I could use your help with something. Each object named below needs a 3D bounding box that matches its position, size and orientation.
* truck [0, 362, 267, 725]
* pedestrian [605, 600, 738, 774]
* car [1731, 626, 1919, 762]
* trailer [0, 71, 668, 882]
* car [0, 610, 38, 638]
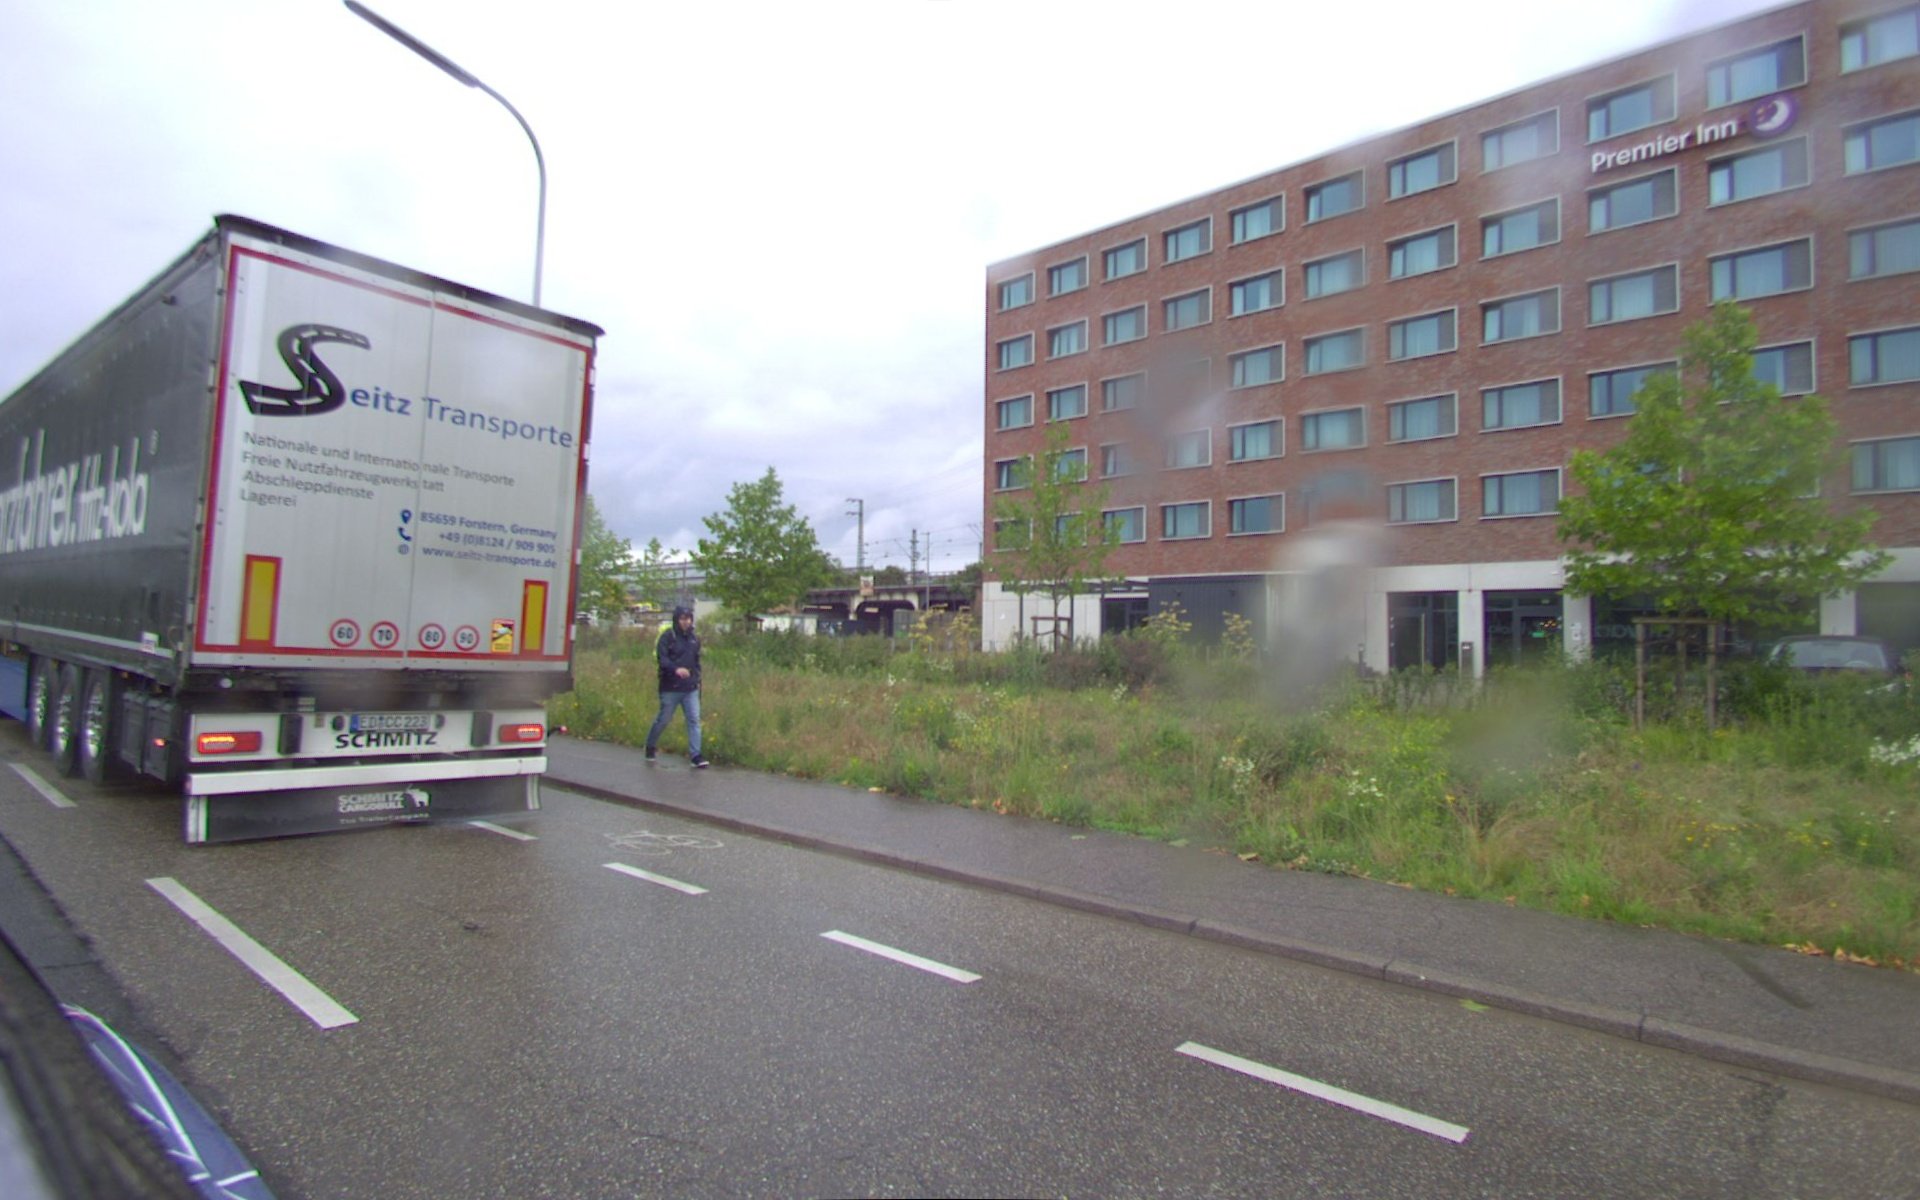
[{"bbox_3d":[-13.913,-0.647,16.012,6.029,4.689,3.260,-1,-3,41],"label":"truck"},{"bbox_3d":[-3.062,0.886,10.752,1.026,1.731,0.899,-1,-3,41],"label":"pedestrian"},{"bbox_3d":[12.145,1.227,14.257,1.997,1.592,4.478,0,-3,38],"label":"car"},{"bbox_3d":[-8.715,-0.601,11.538,13.724,4.689,3.260,-1,-3,41],"label":"trailer"},{"bbox_3d":[-51.216,1.266,53.731,3.971,1.392,1.733,0,-3,21],"label":"car"}]
